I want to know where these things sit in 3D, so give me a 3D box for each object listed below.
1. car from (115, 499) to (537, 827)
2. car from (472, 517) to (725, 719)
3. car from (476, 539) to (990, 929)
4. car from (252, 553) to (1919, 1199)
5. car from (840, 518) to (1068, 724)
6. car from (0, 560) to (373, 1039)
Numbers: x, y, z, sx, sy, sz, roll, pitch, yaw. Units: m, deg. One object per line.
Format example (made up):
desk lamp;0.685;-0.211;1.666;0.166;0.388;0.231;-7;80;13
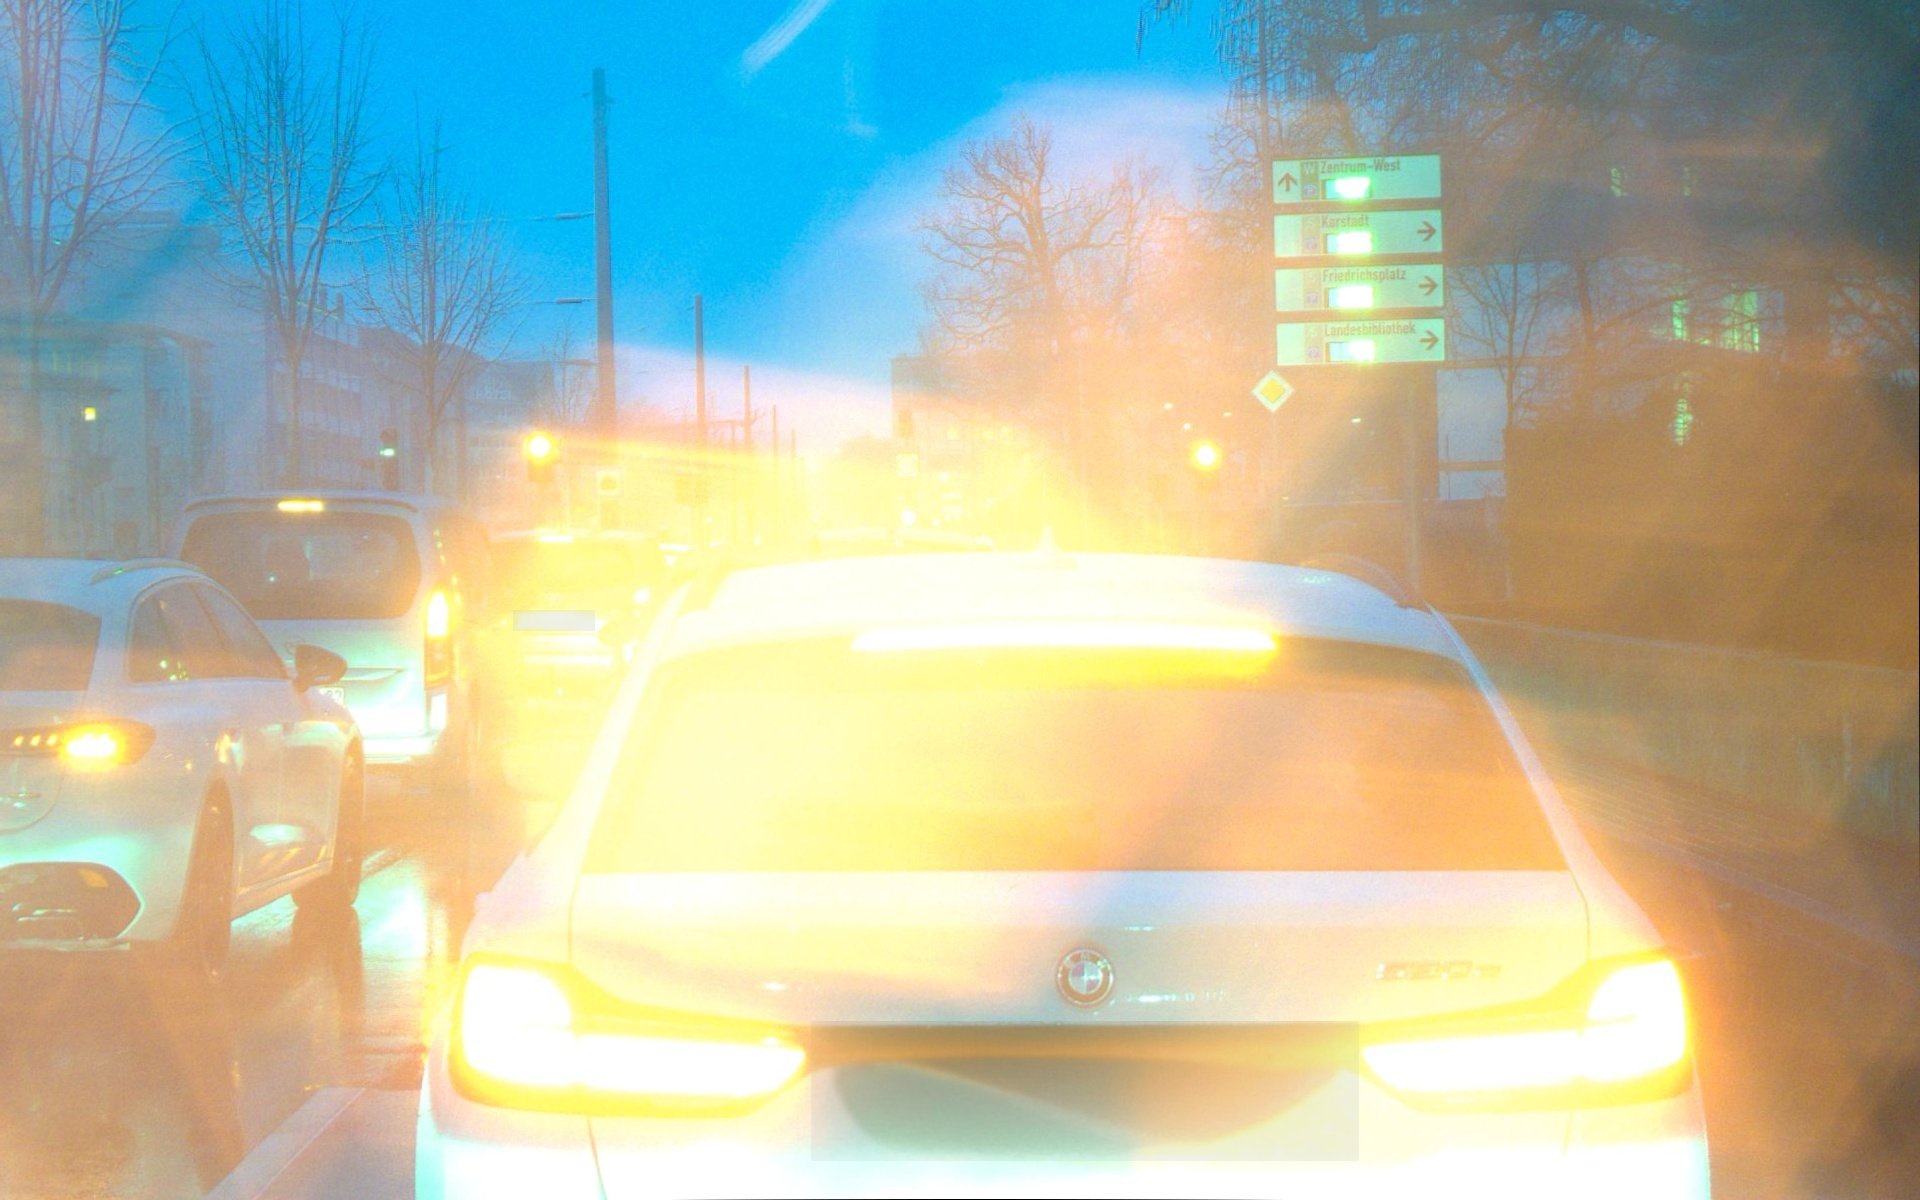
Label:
car;-3.639;0.305;20.481;1.793;1.730;4.538;0;1;-2
car;-3.061;0.105;29.798;1.806;1.640;4.000;0;1;0
car;-0.880;0.471;15.084;1.936;1.452;4.164;0;1;-1
car;0.158;0.687;6.095;1.999;1.503;4.164;0;1;-1
car;-0.065;0.124;29.299;1.806;1.640;4.000;0;1;0
car;-3.375;0.563;12.435;1.846;1.400;4.614;0;1;-2
